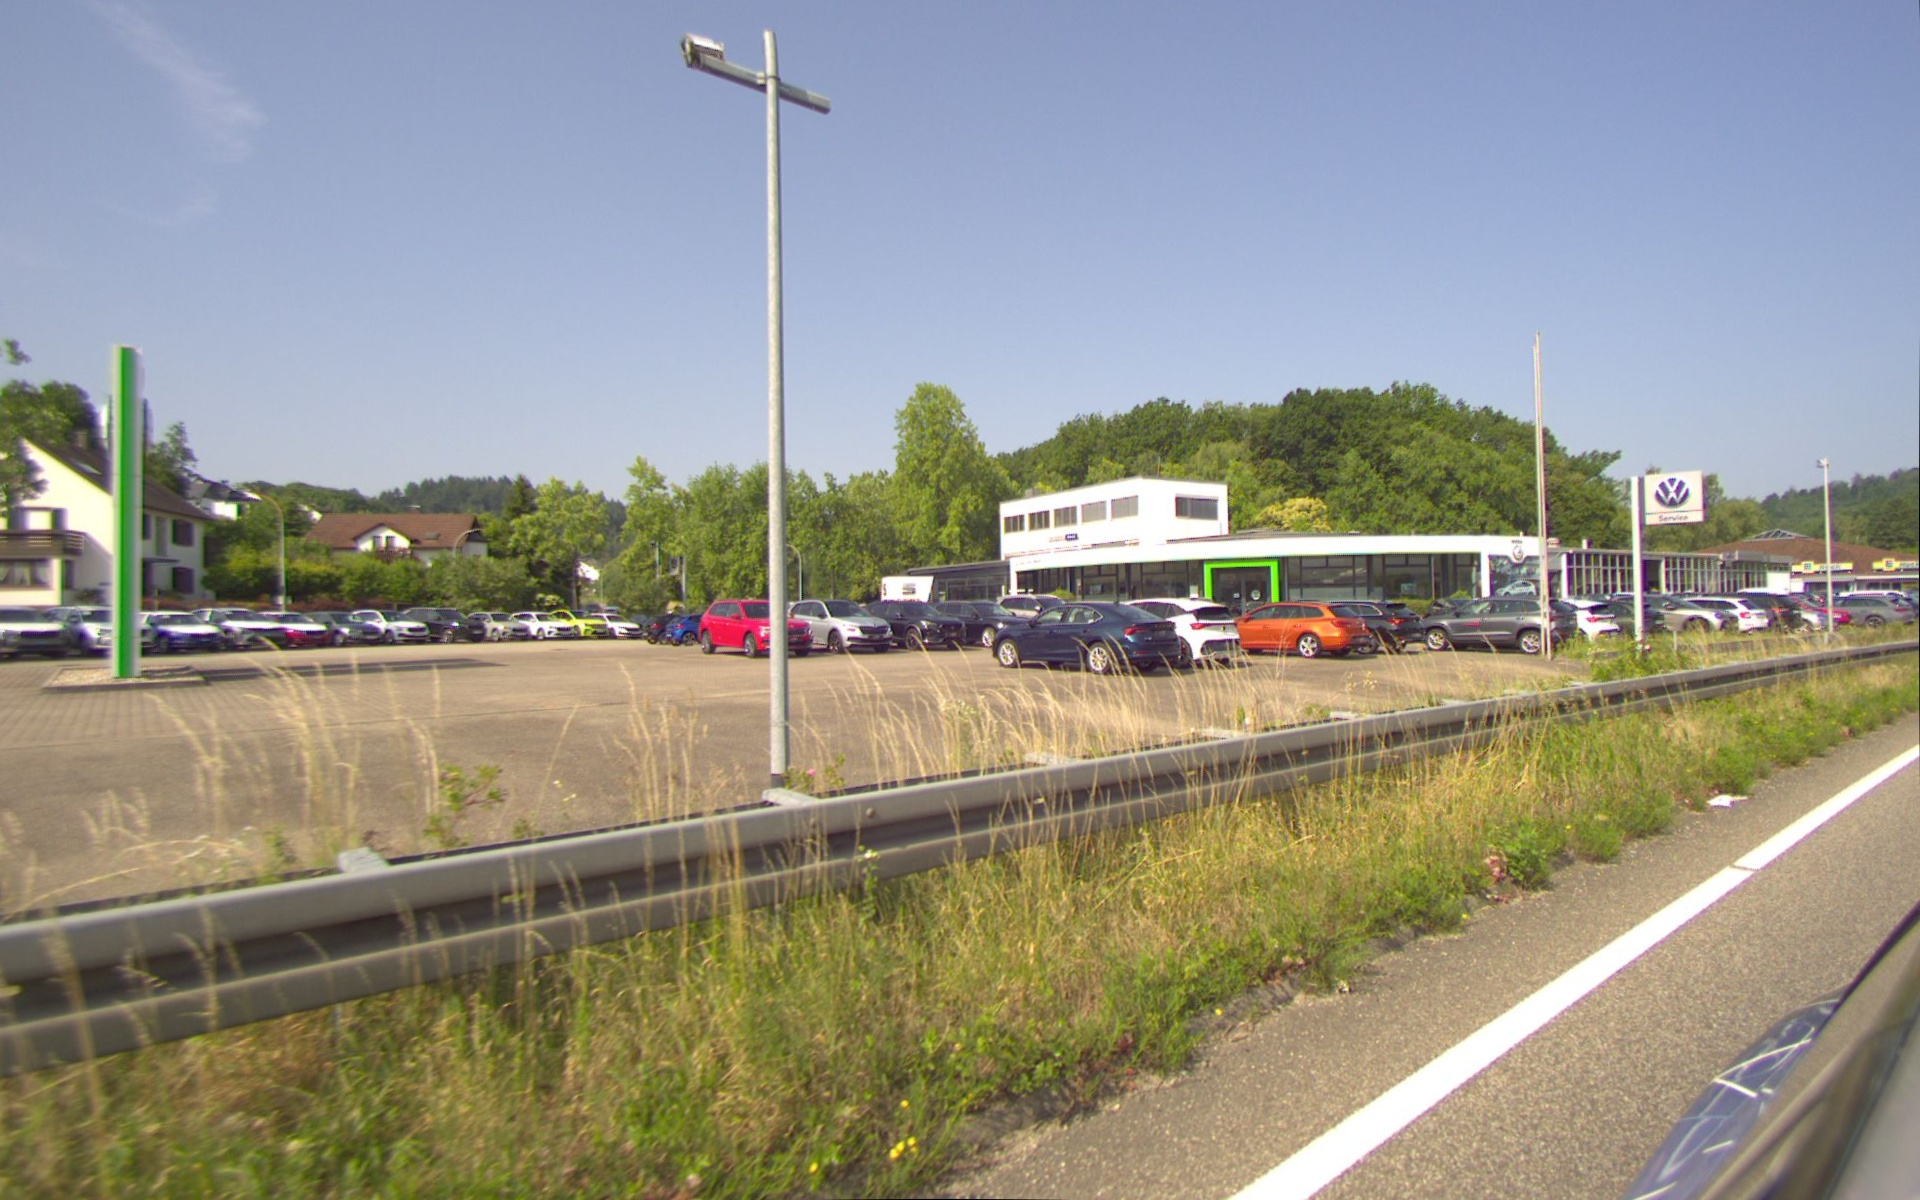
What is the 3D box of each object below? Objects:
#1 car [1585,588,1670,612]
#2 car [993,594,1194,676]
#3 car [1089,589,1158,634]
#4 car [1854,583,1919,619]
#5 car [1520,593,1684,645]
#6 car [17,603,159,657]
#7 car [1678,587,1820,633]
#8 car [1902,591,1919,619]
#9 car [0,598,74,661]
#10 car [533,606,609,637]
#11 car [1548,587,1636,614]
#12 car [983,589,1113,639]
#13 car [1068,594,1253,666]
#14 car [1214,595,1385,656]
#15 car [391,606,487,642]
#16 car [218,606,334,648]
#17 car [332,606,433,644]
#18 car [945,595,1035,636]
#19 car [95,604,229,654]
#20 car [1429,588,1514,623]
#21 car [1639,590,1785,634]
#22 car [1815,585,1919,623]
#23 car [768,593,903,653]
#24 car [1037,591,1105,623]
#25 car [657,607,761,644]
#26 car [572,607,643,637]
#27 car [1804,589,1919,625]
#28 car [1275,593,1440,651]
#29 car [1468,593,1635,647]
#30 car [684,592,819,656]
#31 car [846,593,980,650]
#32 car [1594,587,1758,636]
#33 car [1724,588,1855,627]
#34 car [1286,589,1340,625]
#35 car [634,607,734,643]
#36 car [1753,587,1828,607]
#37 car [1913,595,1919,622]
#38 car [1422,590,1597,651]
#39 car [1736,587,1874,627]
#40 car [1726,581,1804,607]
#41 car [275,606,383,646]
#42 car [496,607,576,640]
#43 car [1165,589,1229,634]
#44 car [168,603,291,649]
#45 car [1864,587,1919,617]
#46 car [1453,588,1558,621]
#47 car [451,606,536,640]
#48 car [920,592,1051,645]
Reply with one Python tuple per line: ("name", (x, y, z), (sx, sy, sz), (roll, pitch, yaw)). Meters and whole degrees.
("car", (43.988, -0.022, 66.760), (1.757, 1.483, 4.324), (-1, 1, -35))
("car", (2.769, 0.662, 21.759), (1.793, 1.535, 4.162), (0, 1, -42))
("car", (6.432, 0.389, 39.418), (1.907, 1.584, 4.722), (0, 1, 19))
("car", (44.519, 0.028, 47.060), (1.882, 1.652, 4.004), (0, 0, -29))
("car", (20.015, 0.538, 31.686), (1.697, 1.513, 4.000), (0, 0, -34))
("car", (-29.497, 0.967, 34.215), (4.702, 1.654, 1.915), (0, 1, 25))
("car", (30.166, 0.339, 38.802), (1.803, 1.684, 3.896), (0, 1, -29))
("car", (49.562, 0.247, 50.290), (1.788, 1.424, 3.743), (0, 0, -34))
("car", (-29.980, 0.876, 31.615), (4.705, 1.802, 1.914), (0, 1, 27))
("car", (-21.567, 1.169, 56.024), (4.724, 1.565, 1.753), (1, 1, 37))
("car", (39.017, 0.021, 62.517), (1.760, 1.584, 4.316), (-1, 1, -42))
("car", (3.008, 0.437, 35.586), (1.896, 1.584, 4.751), (-1, 1, -36))
("car", (4.623, 0.640, 23.785), (1.791, 1.535, 4.102), (0, 0, -38))
("car", (8.942, 0.625, 26.914), (1.791, 1.464, 3.996), (0, 0, -38))
("car", (-24.900, 1.122, 48.320), (4.708, 1.565, 1.759), (0, 1, 29))
("car", (-28.077, 1.053, 41.510), (4.699, 1.565, 1.762), (0, 1, 24))
("car", (-26.276, 1.089, 46.023), (4.706, 1.565, 1.760), (0, 1, 28))
("car", (1.328, 0.595, 42.326), (1.985, 1.565, 4.565), (0, 1, 28))
("car", (-28.839, 0.995, 36.565), (4.700, 1.654, 1.916), (0, 1, 25))
("car", (24.285, 0.221, 48.226), (1.756, 1.584, 4.358), (0, 1, -1))
("car", (27.852, 0.403, 37.615), (1.688, 1.504, 4.053), (0, 1, -29))
("car", (41.478, 0.157, 45.692), (1.883, 1.652, 4.002), (0, 0, -32))
("car", (-3.766, 0.608, 29.893), (1.896, 1.584, 4.751), (-1, 1, -36))
("car", (5.807, 0.324, 52.503), (1.778, 1.584, 4.305), (0, 1, 33))
("car", (-11.628, 1.145, 46.997), (4.380, 1.565, 1.839), (-1, 1, -37))
("car", (-20.453, 1.224, 58.624), (4.730, 1.565, 1.751), (1, 1, 40))
("car", (39.425, 0.270, 44.026), (1.711, 1.477, 3.853), (0, 0, -32))
("car", (11.159, 0.578, 28.636), (1.808, 1.505, 3.996), (0, 0, -38))
("car", (17.774, 0.561, 30.586), (1.757, 1.513, 3.998), (0, 0, -36))
("car", (-5.865, 0.594, 28.089), (1.896, 1.584, 4.751), (-1, 1, -36))
("car", (-1.551, 0.596, 31.640), (1.896, 1.584, 4.751), (-1, 1, -36))
("car", (25.520, 0.359, 36.214), (1.821, 1.620, 4.459), (0, 1, -37))
("car", (33.161, 0.262, 40.549), (1.632, 1.477, 3.745), (0, 1, -33))
("car", (16.542, 0.278, 47.609), (1.762, 1.584, 4.343), (0, 1, 11))
("car", (-13.379, 1.164, 49.160), (4.378, 1.565, 1.840), (-1, 1, -35))
("car", (66.252, -0.259, 80.777), (1.755, 1.483, 4.327), (0, 1, -32))
("car", (52.010, 0.437, 52.285), (1.745, 1.446, 3.746), (0, 0, -34))
("car", (15.711, 0.539, 29.093), (1.760, 1.630, 4.085), (0, 0, -39))
("car", (35.188, 0.259, 42.231), (1.747, 1.571, 4.098), (0, 1, -33))
("car", (61.413, -0.462, 77.295), (1.756, 1.949, 4.326), (0, 1, -33))
("car", (-27.220, 1.080, 43.638), (4.703, 1.565, 1.761), (0, 1, 26))
("car", (-22.520, 1.196, 53.694), (4.721, 1.565, 1.754), (1, 1, 36))
("car", (9.081, 0.379, 38.463), (1.907, 1.584, 4.722), (0, 1, 19))
("car", (-28.323, 0.966, 39.230), (4.703, 1.654, 1.915), (0, 1, 26))
("car", (46.953, 0.078, 49.314), (1.913, 1.470, 4.001), (0, 0, -34))
("car", (26.619, 0.197, 49.590), (1.753, 1.507, 4.731), (0, 1, -16))
("car", (-23.694, 1.132, 51.354), (4.720, 1.565, 1.817), (1, 1, 35))
("car", (0.762, 0.557, 33.696), (1.896, 1.584, 4.751), (-1, 1, -36))
